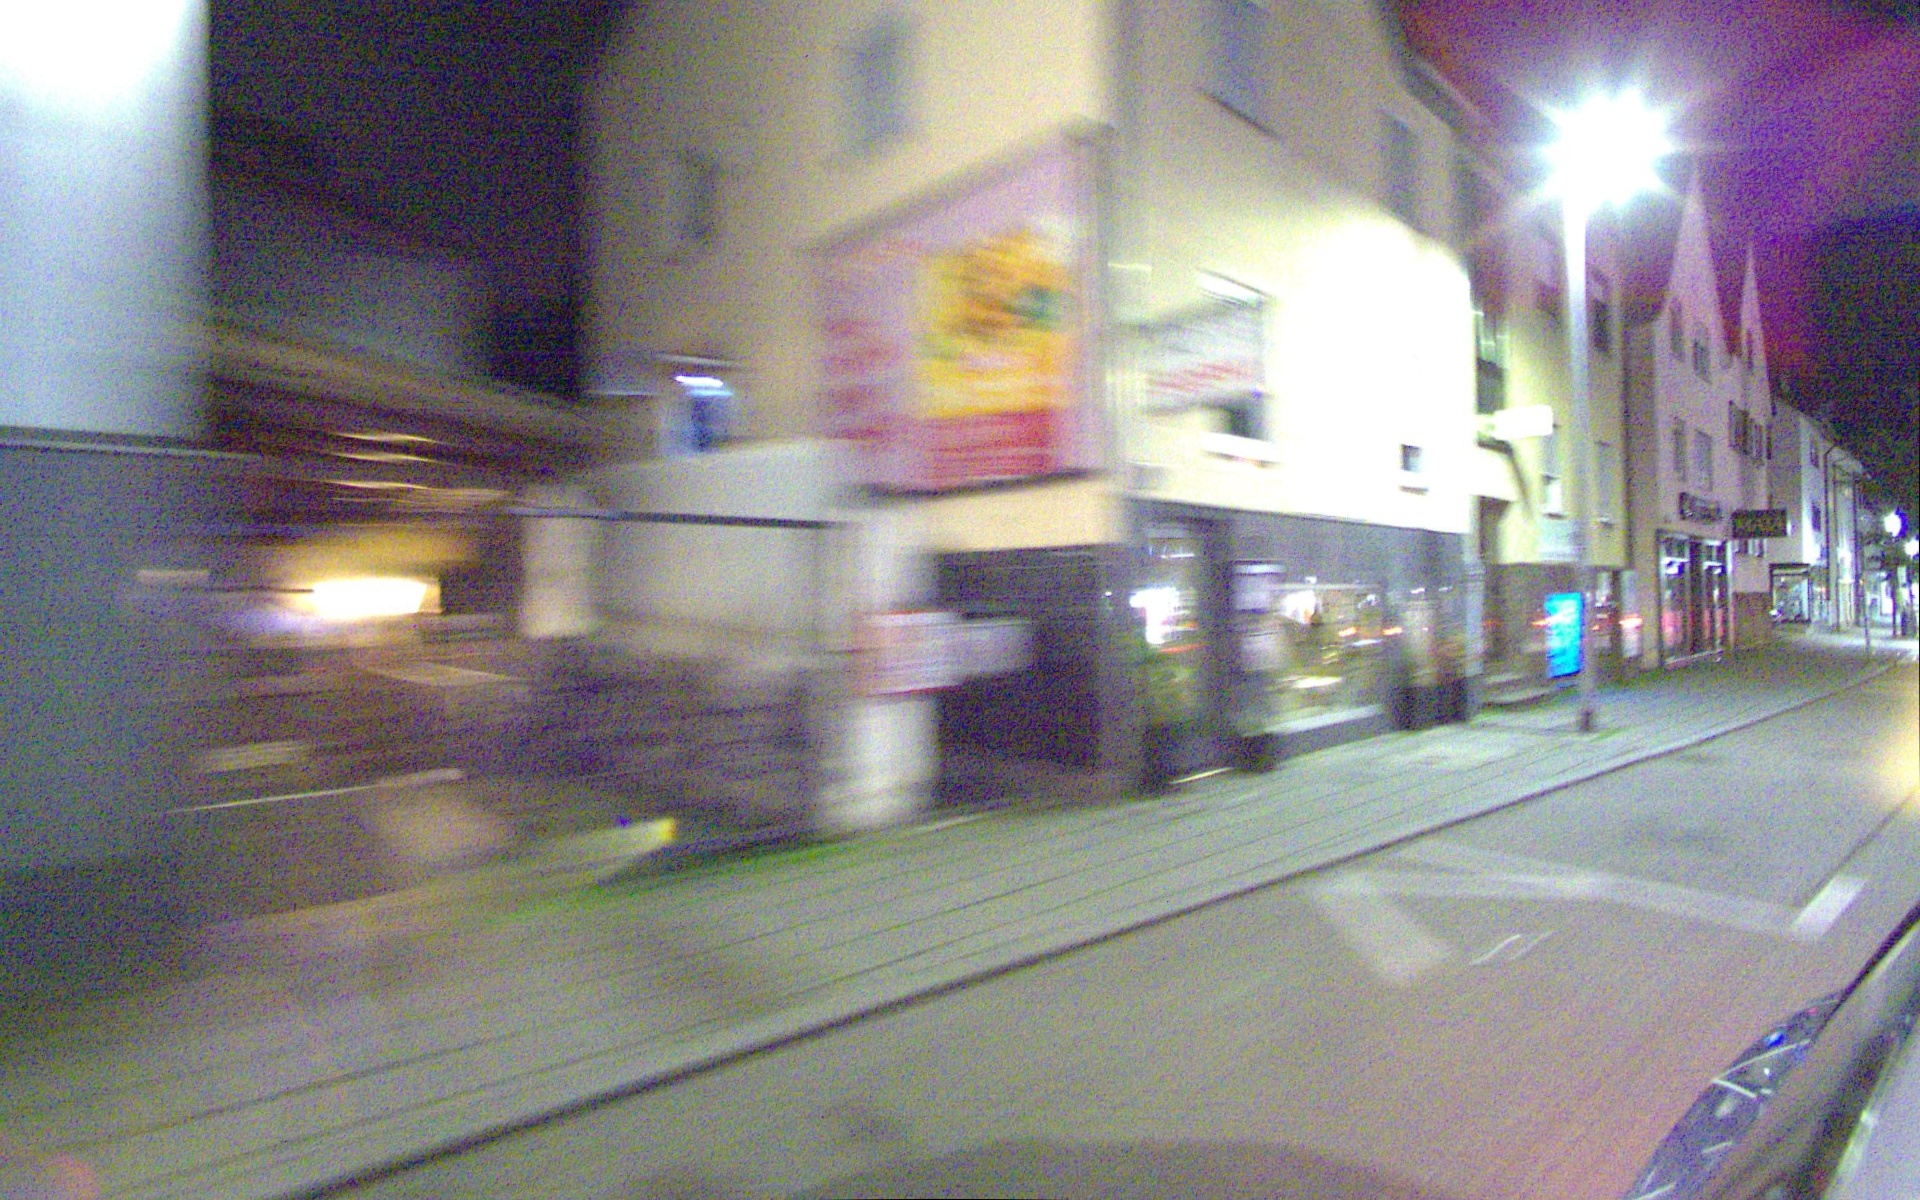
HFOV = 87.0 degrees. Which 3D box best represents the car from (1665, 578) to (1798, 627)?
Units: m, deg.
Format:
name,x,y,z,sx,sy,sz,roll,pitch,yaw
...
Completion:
name,x,y,z,sx,sy,sz,roll,pitch,yaw
car,30.208,0.077,39.701,1.618,1.607,3.909,1,4,-45
